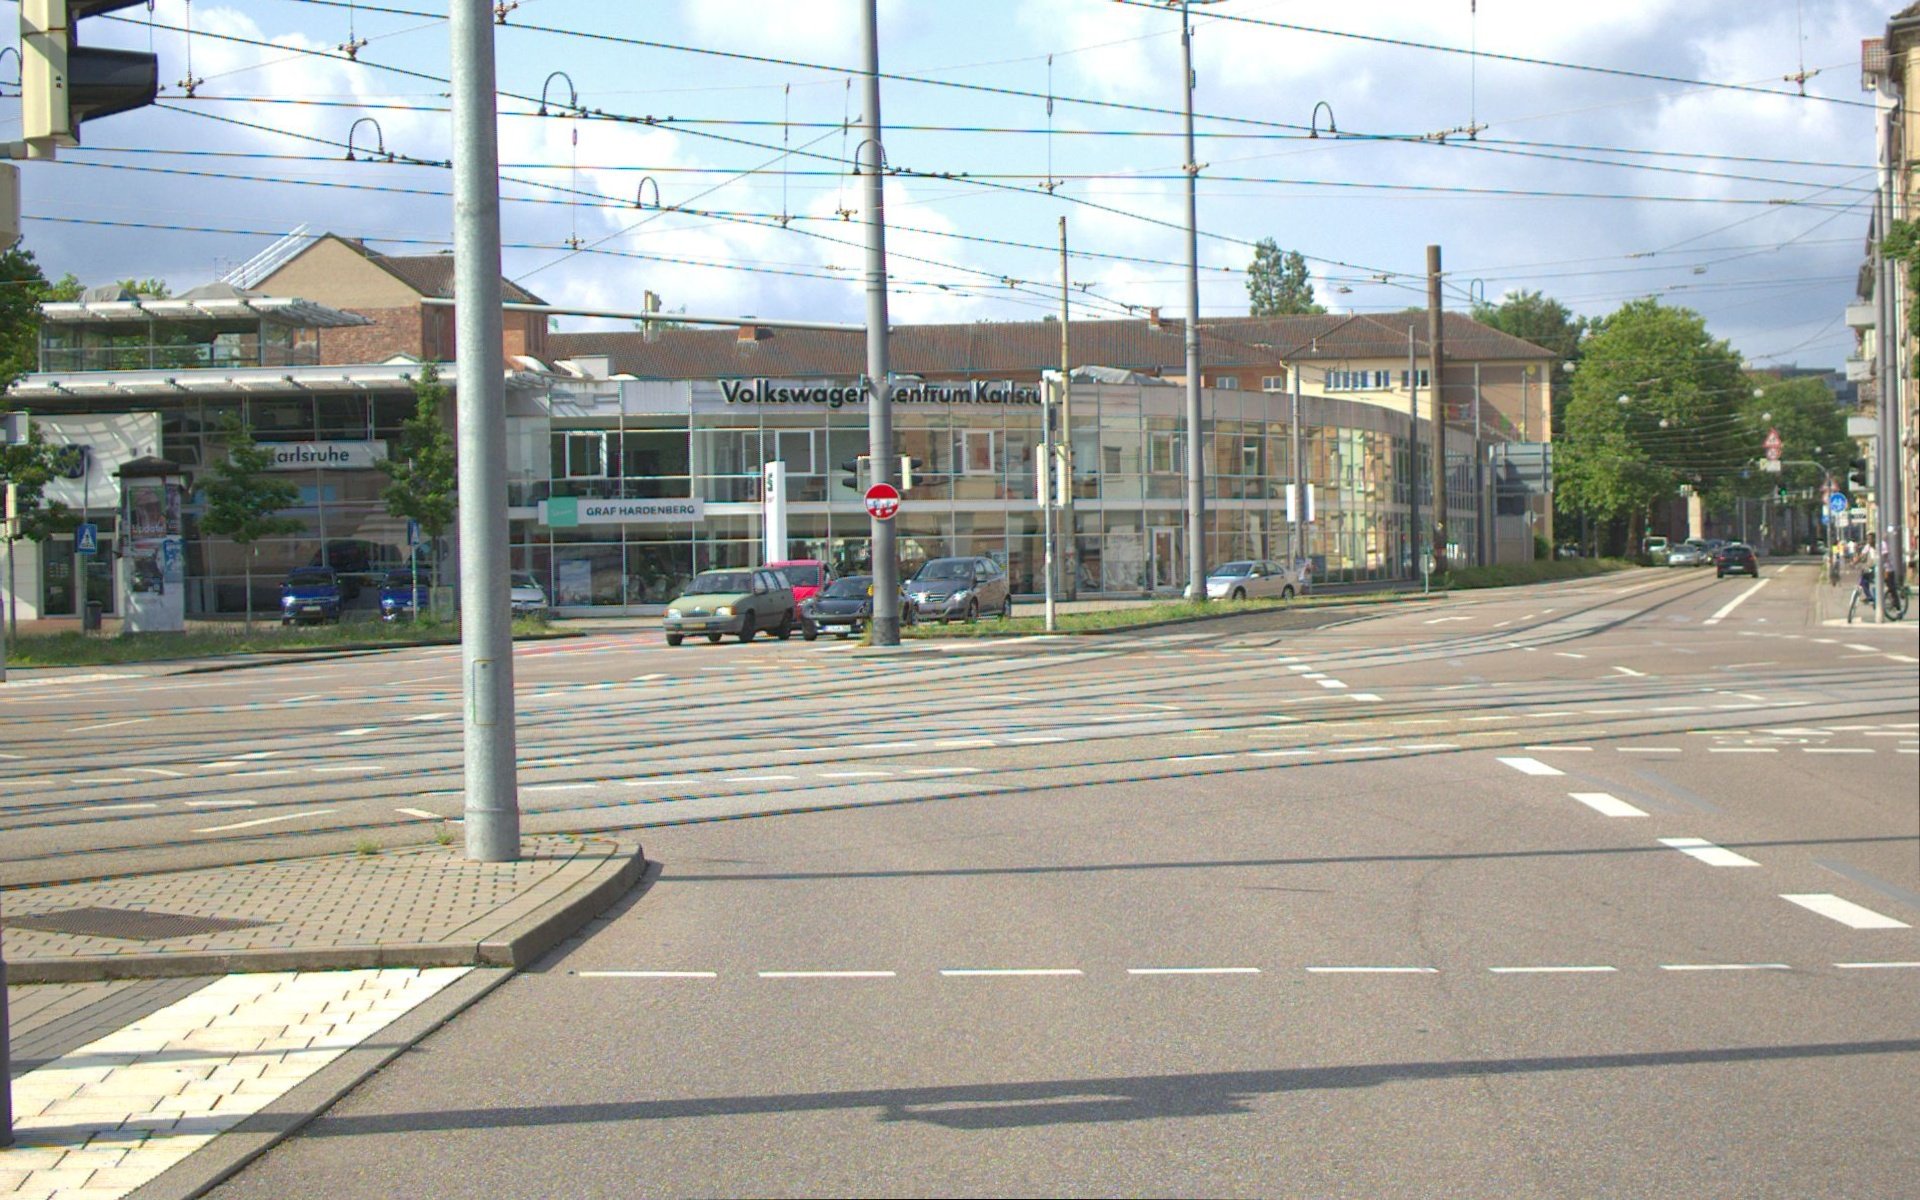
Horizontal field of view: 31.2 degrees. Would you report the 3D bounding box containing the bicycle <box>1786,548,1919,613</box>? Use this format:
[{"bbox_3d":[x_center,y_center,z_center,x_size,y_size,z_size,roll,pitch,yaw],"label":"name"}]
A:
[{"bbox_3d":[17.270,-0.382,65.828,2.671,1.166,0.901,-1,2,-8],"label":"bicycle"}]

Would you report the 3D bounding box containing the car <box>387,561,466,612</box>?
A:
[{"bbox_3d":[-15.749,-0.426,101.679,1.919,1.440,4.001,-1,1,-3],"label":"car"}]

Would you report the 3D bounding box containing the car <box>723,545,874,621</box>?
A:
[{"bbox_3d":[-3.330,-0.370,71.712,1.995,1.514,3.997,1,1,15],"label":"car"}]

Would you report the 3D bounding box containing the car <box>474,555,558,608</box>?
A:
[{"bbox_3d":[-13.359,-0.576,103.586,1.919,1.546,4.000,-1,1,1],"label":"car"}]

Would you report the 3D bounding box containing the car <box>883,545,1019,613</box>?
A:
[{"bbox_3d":[-0.183,-0.509,80.890,1.995,1.546,3.997,-1,1,18],"label":"car"}]

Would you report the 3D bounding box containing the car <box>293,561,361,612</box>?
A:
[{"bbox_3d":[-18.764,-0.407,101.990,1.919,1.440,4.001,-1,1,-10],"label":"car"}]

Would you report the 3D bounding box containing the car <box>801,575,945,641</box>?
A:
[{"bbox_3d":[-1.611,0.135,64.928,1.622,1.157,3.997,1,1,15],"label":"car"}]

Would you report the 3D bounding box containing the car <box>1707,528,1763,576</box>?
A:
[{"bbox_3d":[33.732,-2.089,149.530,1.995,2.007,3.997,-1,1,18],"label":"car"}]

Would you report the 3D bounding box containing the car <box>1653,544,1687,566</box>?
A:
[{"bbox_3d":[43.849,-2.763,212.386,1.994,1.327,3.998,-1,1,10],"label":"car"}]

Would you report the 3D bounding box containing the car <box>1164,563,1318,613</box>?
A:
[{"bbox_3d":[8.500,-0.349,103.881,4.467,1.459,1.782,0,1,-34],"label":"car"}]

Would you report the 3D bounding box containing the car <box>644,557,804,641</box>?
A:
[{"bbox_3d":[-4.461,-0.042,65.511,1.822,1.508,3.997,1,1,15],"label":"car"}]

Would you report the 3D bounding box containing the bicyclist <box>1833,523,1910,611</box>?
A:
[{"bbox_3d":[17.442,-0.638,65.793,1.193,1.652,0.786,-1,1,-8],"label":"bicyclist"}]
